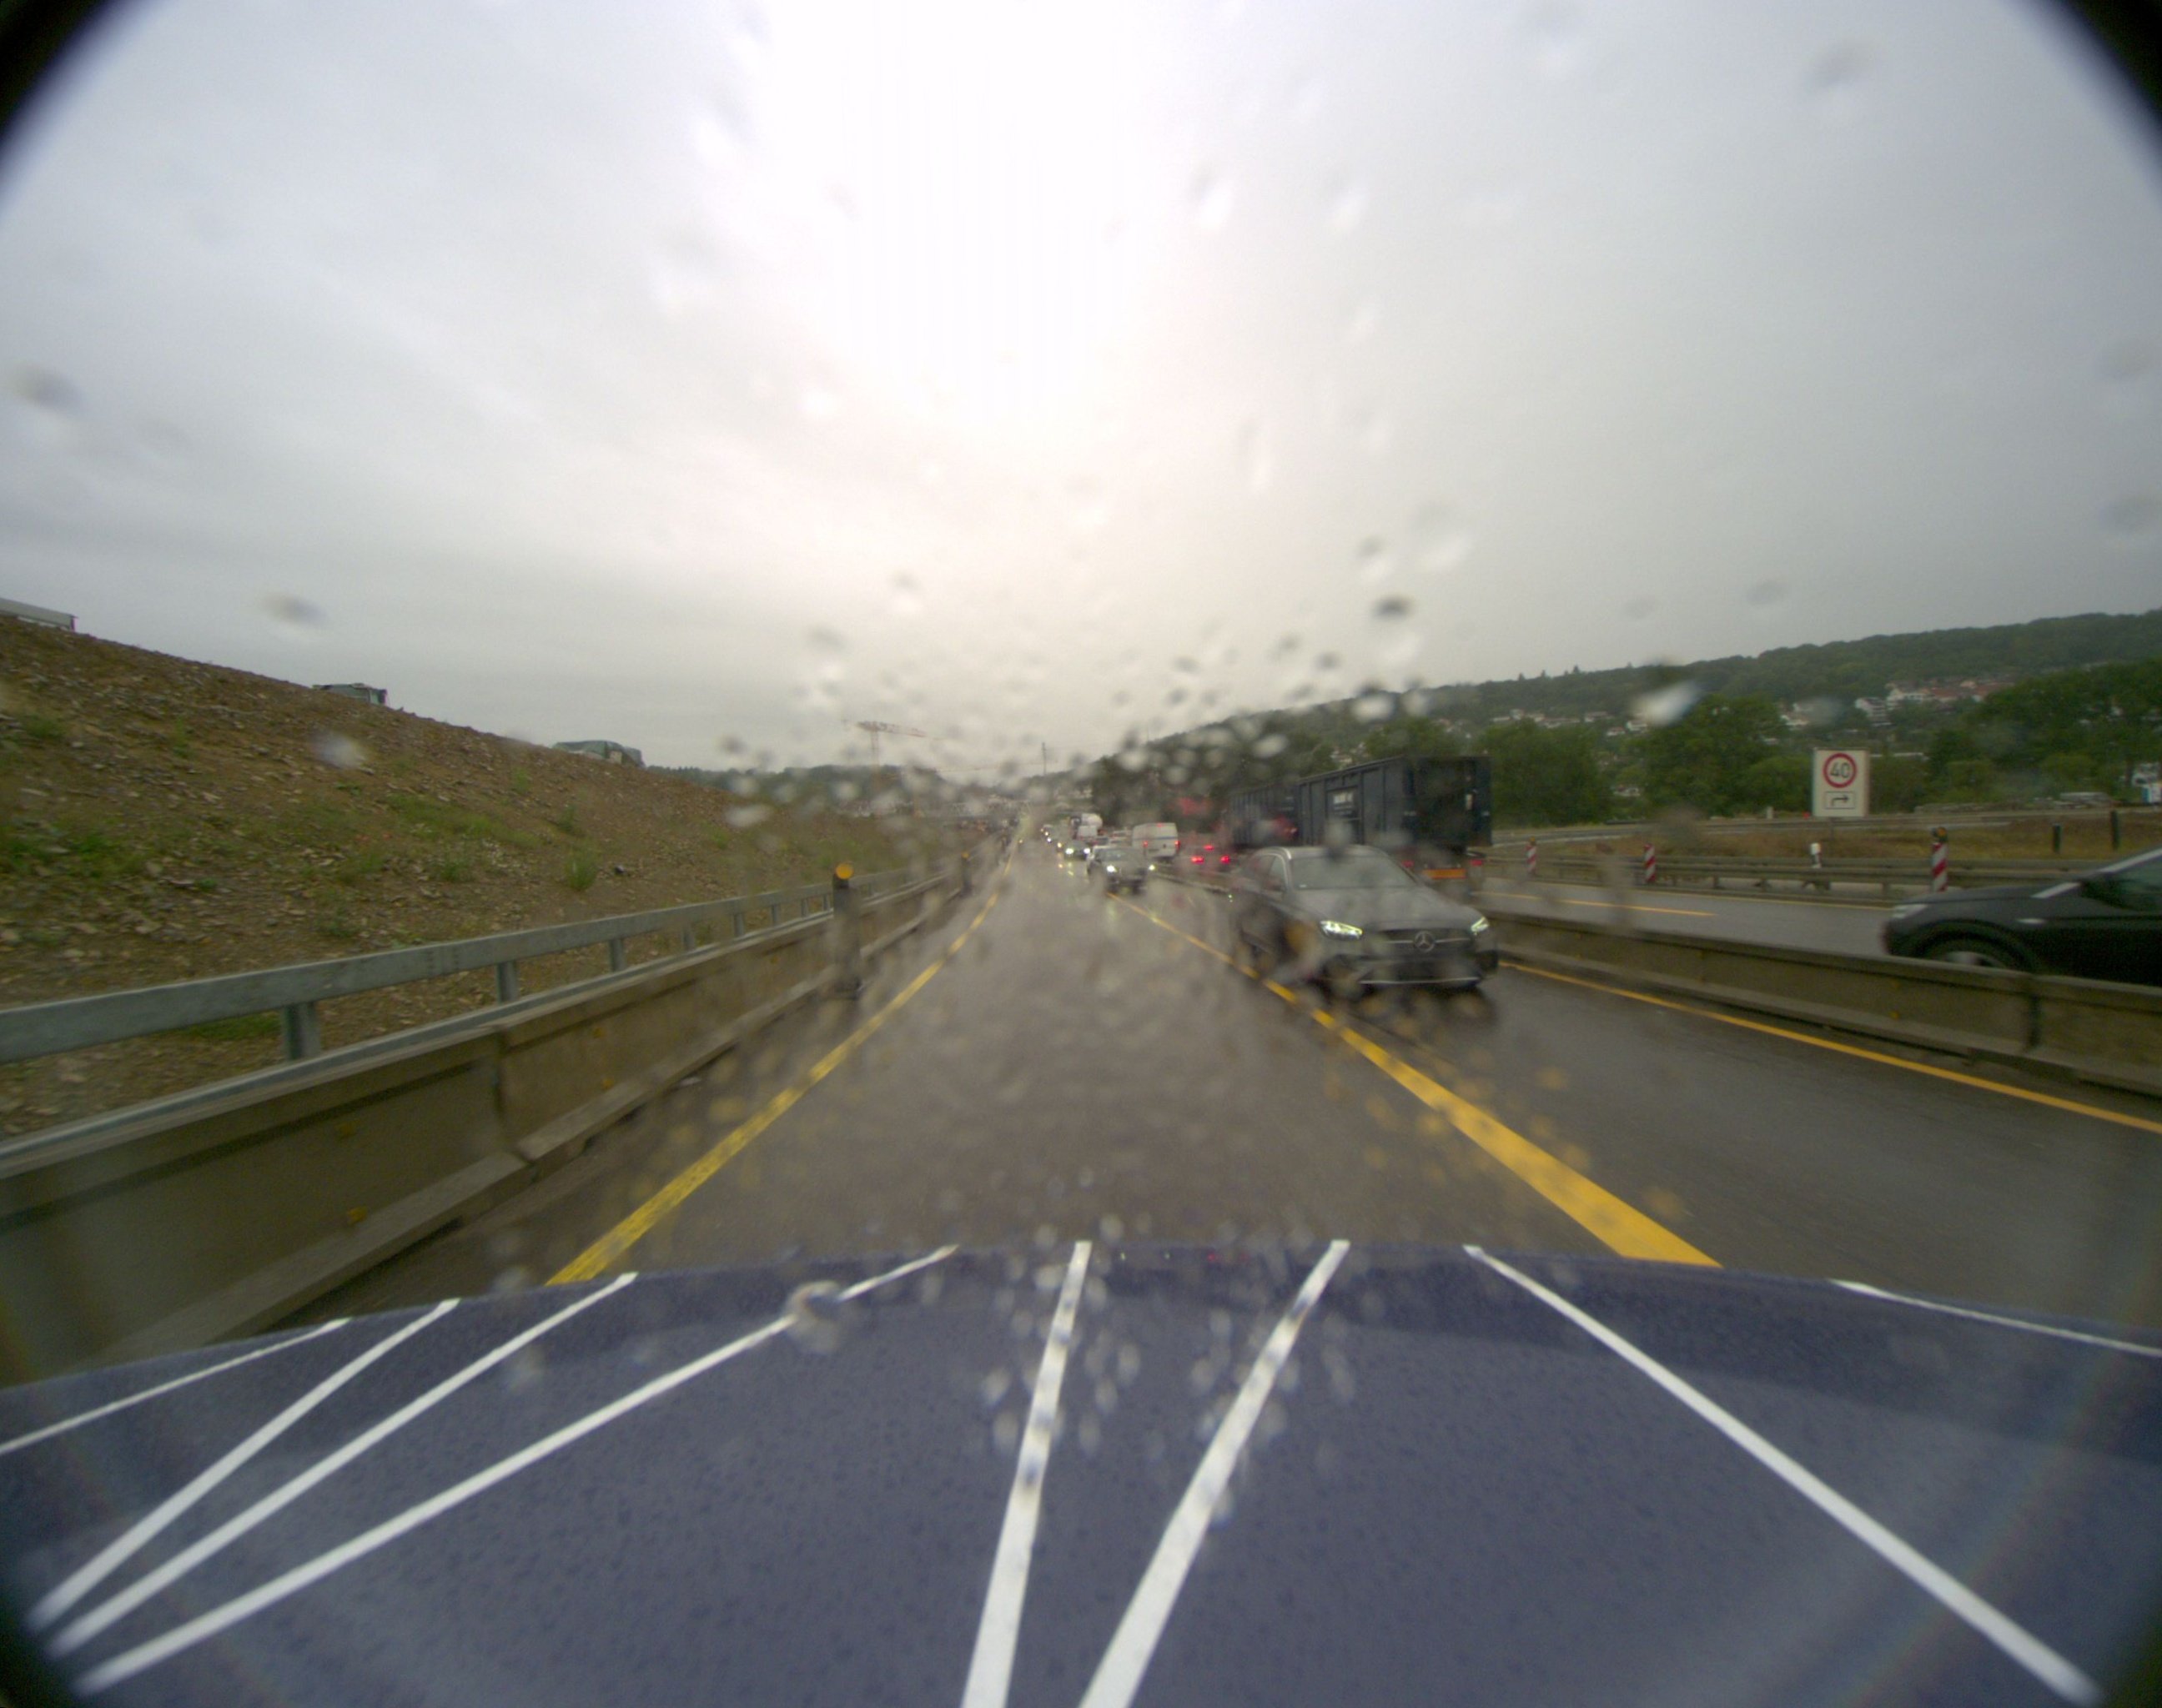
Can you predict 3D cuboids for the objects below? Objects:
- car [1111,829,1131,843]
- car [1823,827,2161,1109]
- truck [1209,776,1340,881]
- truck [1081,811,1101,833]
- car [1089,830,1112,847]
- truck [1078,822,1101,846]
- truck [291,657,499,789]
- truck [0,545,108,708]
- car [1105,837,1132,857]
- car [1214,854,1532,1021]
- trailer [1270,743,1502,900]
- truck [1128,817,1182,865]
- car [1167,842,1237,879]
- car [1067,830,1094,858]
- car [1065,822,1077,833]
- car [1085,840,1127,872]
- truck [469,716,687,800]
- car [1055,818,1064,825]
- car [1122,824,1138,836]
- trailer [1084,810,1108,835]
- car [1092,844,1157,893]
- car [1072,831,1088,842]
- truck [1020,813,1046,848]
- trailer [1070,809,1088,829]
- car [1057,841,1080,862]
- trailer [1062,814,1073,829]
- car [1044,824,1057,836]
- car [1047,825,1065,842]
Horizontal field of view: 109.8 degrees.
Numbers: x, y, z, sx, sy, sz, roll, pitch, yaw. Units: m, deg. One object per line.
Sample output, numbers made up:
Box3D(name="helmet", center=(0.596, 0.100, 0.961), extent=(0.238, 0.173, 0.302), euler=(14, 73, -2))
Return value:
Box3D(name="car", center=(4.560, -2.125, 87.793), extent=(1.793, 1.538, 3.997), euler=(-2, 2, -4))
Box3D(name="car", center=(7.470, 0.693, 3.857), extent=(1.742, 1.675, 5.549), euler=(-2, 1, -4))
Box3D(name="truck", center=(8.221, -1.028, 33.765), extent=(2.649, 3.948, 9.207), euler=(-2, 1, -5))
Box3D(name="truck", center=(1.714, -5.471, 129.348), extent=(2.628, 3.658, 6.588), euler=(-2, 3, -5))
Box3D(name="car", center=(1.899, -1.566, 75.464), extent=(1.792, 1.530, 4.308), euler=(-1, 2, -4))
Box3D(name="truck", center=(0.932, -2.397, 87.845), extent=(2.085, 2.562, 5.956), euler=(-2, 3, -5))
Box3D(name="truck", center=(-25.322, -4.650, 28.517), extent=(2.380, 4.196, 5.973), euler=(-2, 3, -5))
Box3D(name="truck", center=(-19.581, -3.856, 10.792), extent=(2.653, 2.541, 6.977), euler=(-2, 3, -5))
Box3D(name="car", center=(3.087, -0.631, 63.798), extent=(1.681, 1.515, 4.341), euler=(-1, 2, -4))
Box3D(name="car", center=(3.064, 0.758, 9.167), extent=(1.952, 1.430, 4.482), euler=(-2, 0, -2))
Box3D(name="trailer", center=(9.053, -0.896, 24.314), extent=(2.754, 3.948, 9.668), euler=(-2, 1, -5))
Box3D(name="truck", center=(4.378, -0.804, 46.200), extent=(2.154, 2.698, 6.011), euler=(-2, 2, -5))
Box3D(name="car", center=(5.185, 0.216, 33.201), extent=(1.874, 1.463, 4.667), euler=(-2, 1, -5))
Box3D(name="car", center=(-0.041, -0.809, 59.370), extent=(1.998, 2.003, 3.998), euler=(-1, 2, 0))
Box3D(name="car", center=(-1.850, -4.838, 137.417), extent=(1.871, 1.790, 4.158), euler=(-2, 3, -5))
Box3D(name="car", center=(1.268, 0.056, 39.901), extent=(1.782, 1.431, 4.479), euler=(-2, 3, -3))
Box3D(name="truck", center=(-20.759, -3.848, 32.382), extent=(3.404, 2.860, 8.952), euler=(-2, 3, -2))
Box3D(name="car", center=(-5.318, -7.956, 186.874), extent=(1.999, 1.749, 4.683), euler=(-2, 3, -4))
Box3D(name="car", center=(7.608, -3.742, 118.140), extent=(1.850, 1.691, 5.041), euler=(-2, 3, -4))
Box3D(name="trailer", center=(2.293, -5.119, 122.674), extent=(2.628, 3.658, 11.991), euler=(-2, 3, -5))
Box3D(name="car", center=(1.429, 0.464, 26.540), extent=(1.782, 1.514, 4.139), euler=(-2, 0, -3))
Box3D(name="car", center=(-0.141, -2.428, 104.728), extent=(1.777, 1.496, 4.675), euler=(-1, 3, -5))
Box3D(name="truck", center=(-5.077, -2.581, 80.543), extent=(2.576, 3.452, 6.620), euler=(-2, 3, -3))
Box3D(name="trailer", center=(-0.543, -7.789, 167.239), extent=(2.757, 4.021, 15.344), euler=(-2, 3, -4))
Box3D(name="car", center=(-1.251, -0.266, 75.887), extent=(1.999, 2.002, 3.998), euler=(-2, 1, -4))
Box3D(name="trailer", center=(-3.863, -9.249, 214.683), extent=(2.694, 3.942, 9.809), euler=(0, 3, -4))
Box3D(name="car", center=(-5.145, -4.057, 128.224), extent=(1.999, 2.003, 3.996), euler=(-2, 3, -5))
Box3D(name="car", center=(-3.138, -2.510, 95.573), extent=(1.999, 2.002, 4.184), euler=(-2, 1, -4))
